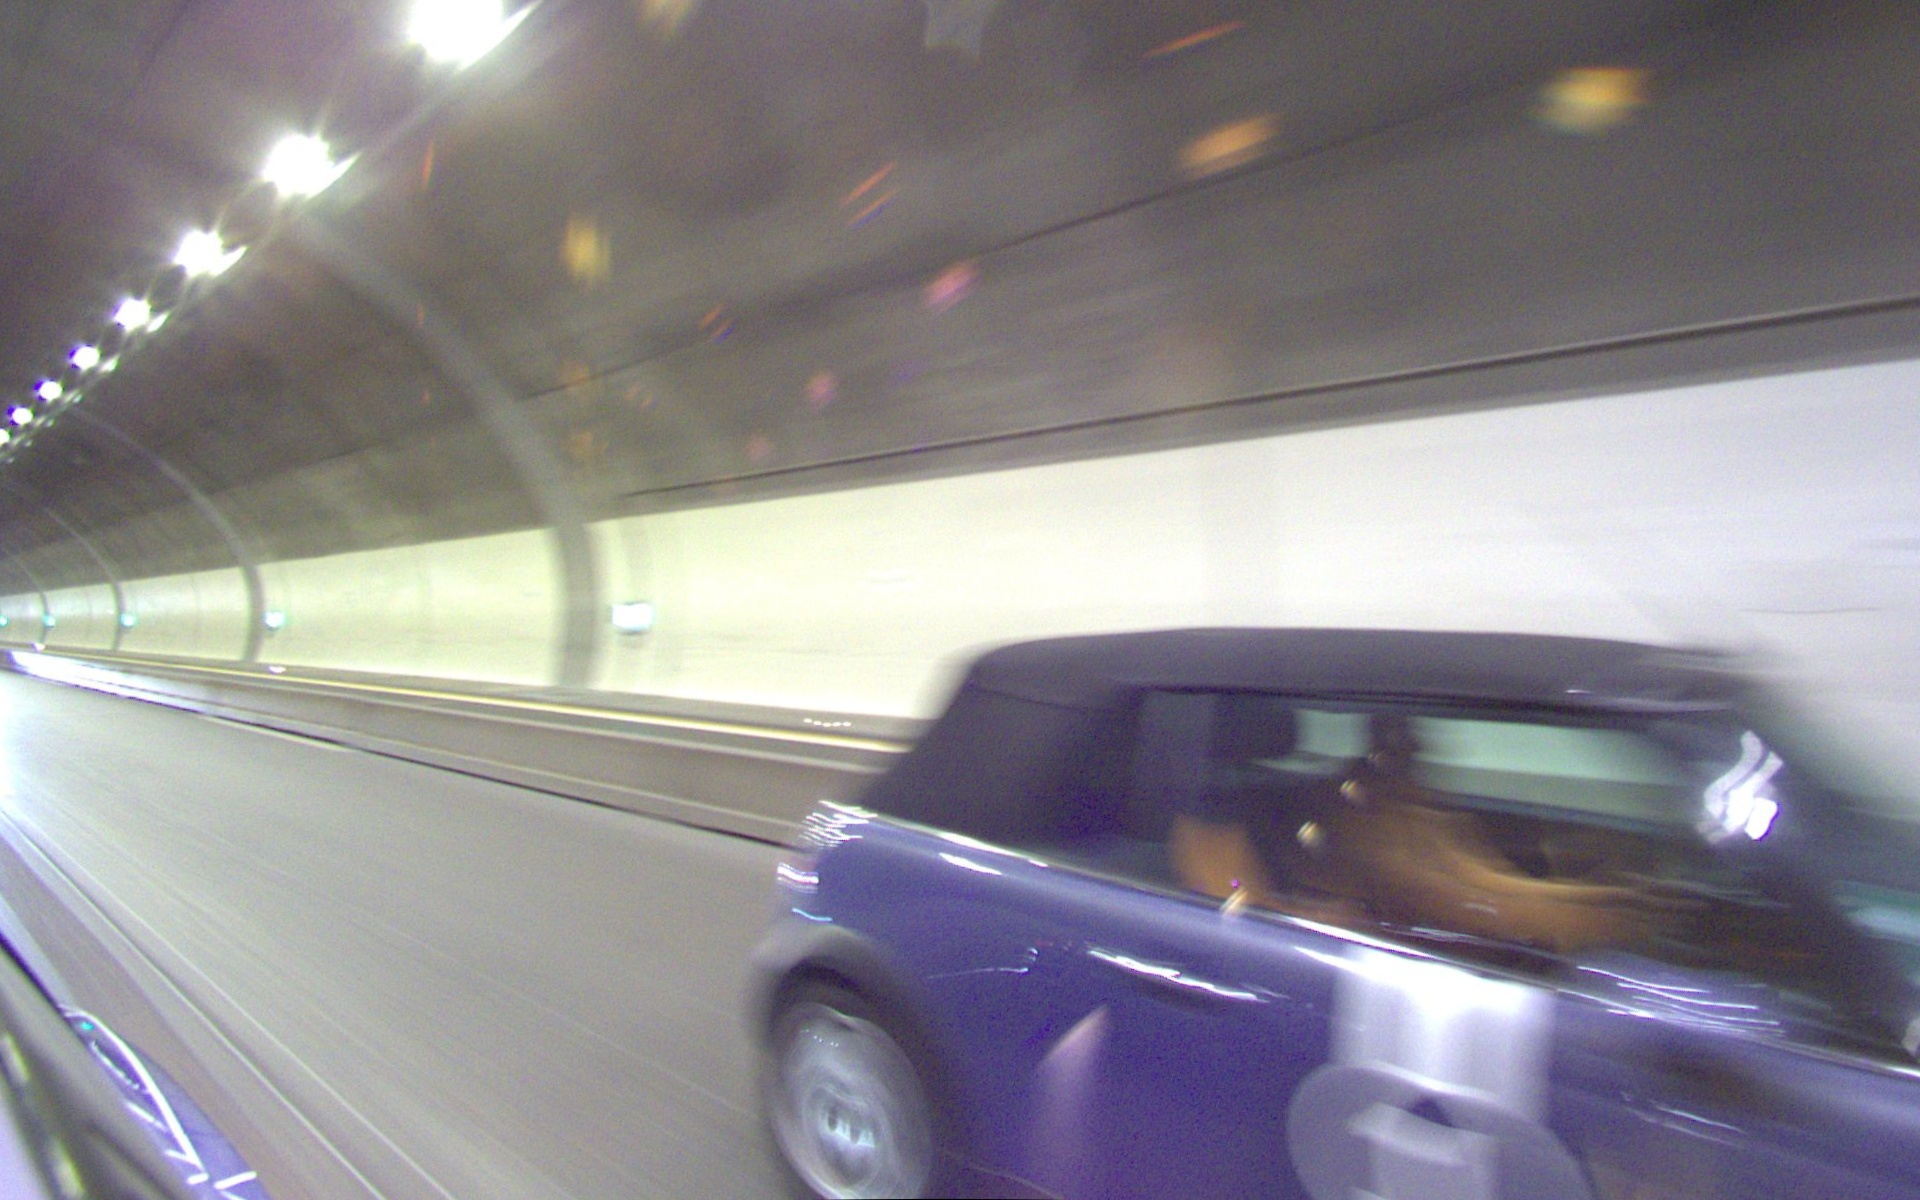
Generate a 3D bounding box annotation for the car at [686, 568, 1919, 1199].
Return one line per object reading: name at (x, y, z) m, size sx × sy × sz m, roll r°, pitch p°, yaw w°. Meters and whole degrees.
car at (1.312, 0.691, 1.963) m, size 3.921 × 1.428 × 1.671 m, roll -1°, pitch -1°, yaw 41°
